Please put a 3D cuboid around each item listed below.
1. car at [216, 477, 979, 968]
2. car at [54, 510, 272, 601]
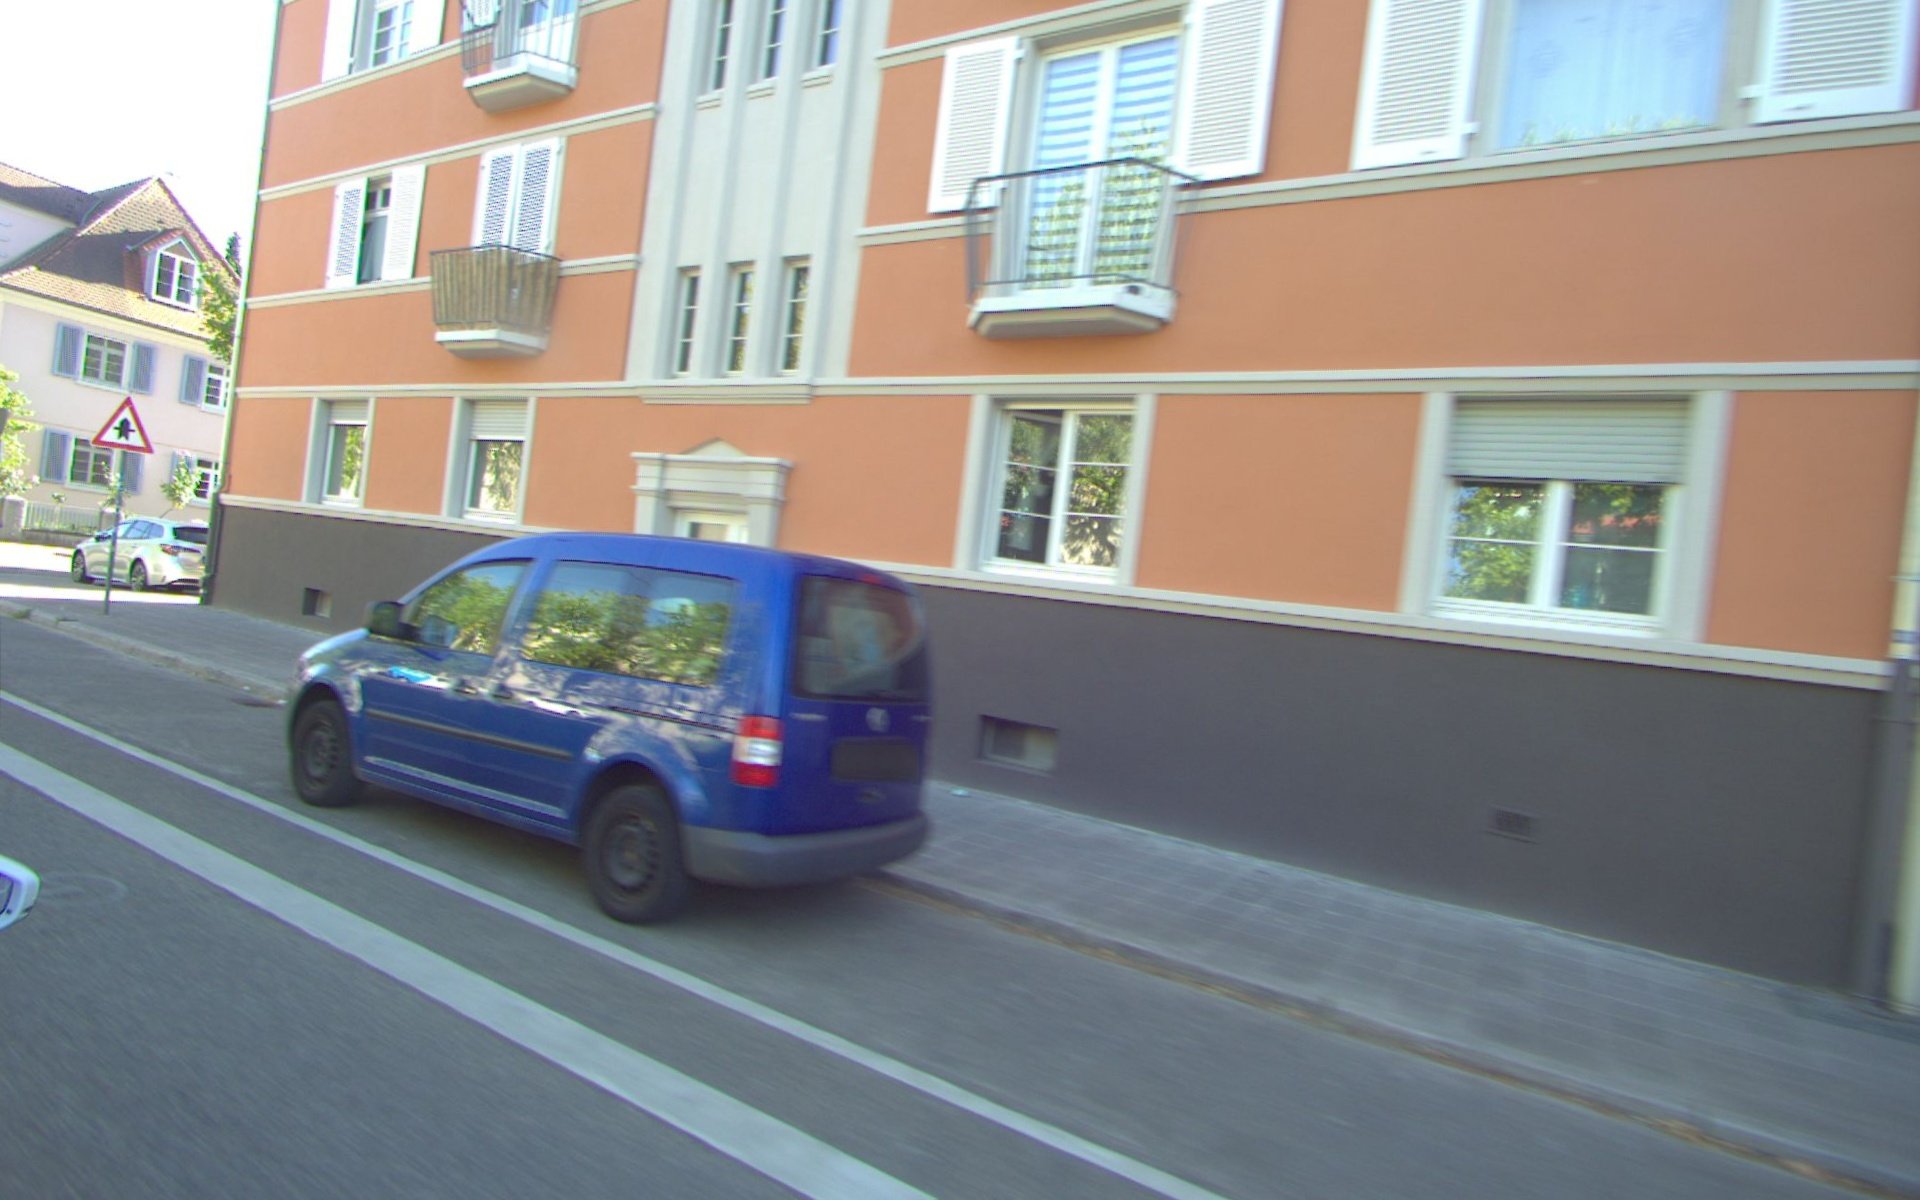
[{"bbox_3d":[-2.237,0.466,5.907,4.199,1.831,1.707,7,-2,30],"label":"car"},{"bbox_3d":[-15.438,-0.877,19.445,4.440,1.406,1.705,4,-1,30],"label":"car"}]
